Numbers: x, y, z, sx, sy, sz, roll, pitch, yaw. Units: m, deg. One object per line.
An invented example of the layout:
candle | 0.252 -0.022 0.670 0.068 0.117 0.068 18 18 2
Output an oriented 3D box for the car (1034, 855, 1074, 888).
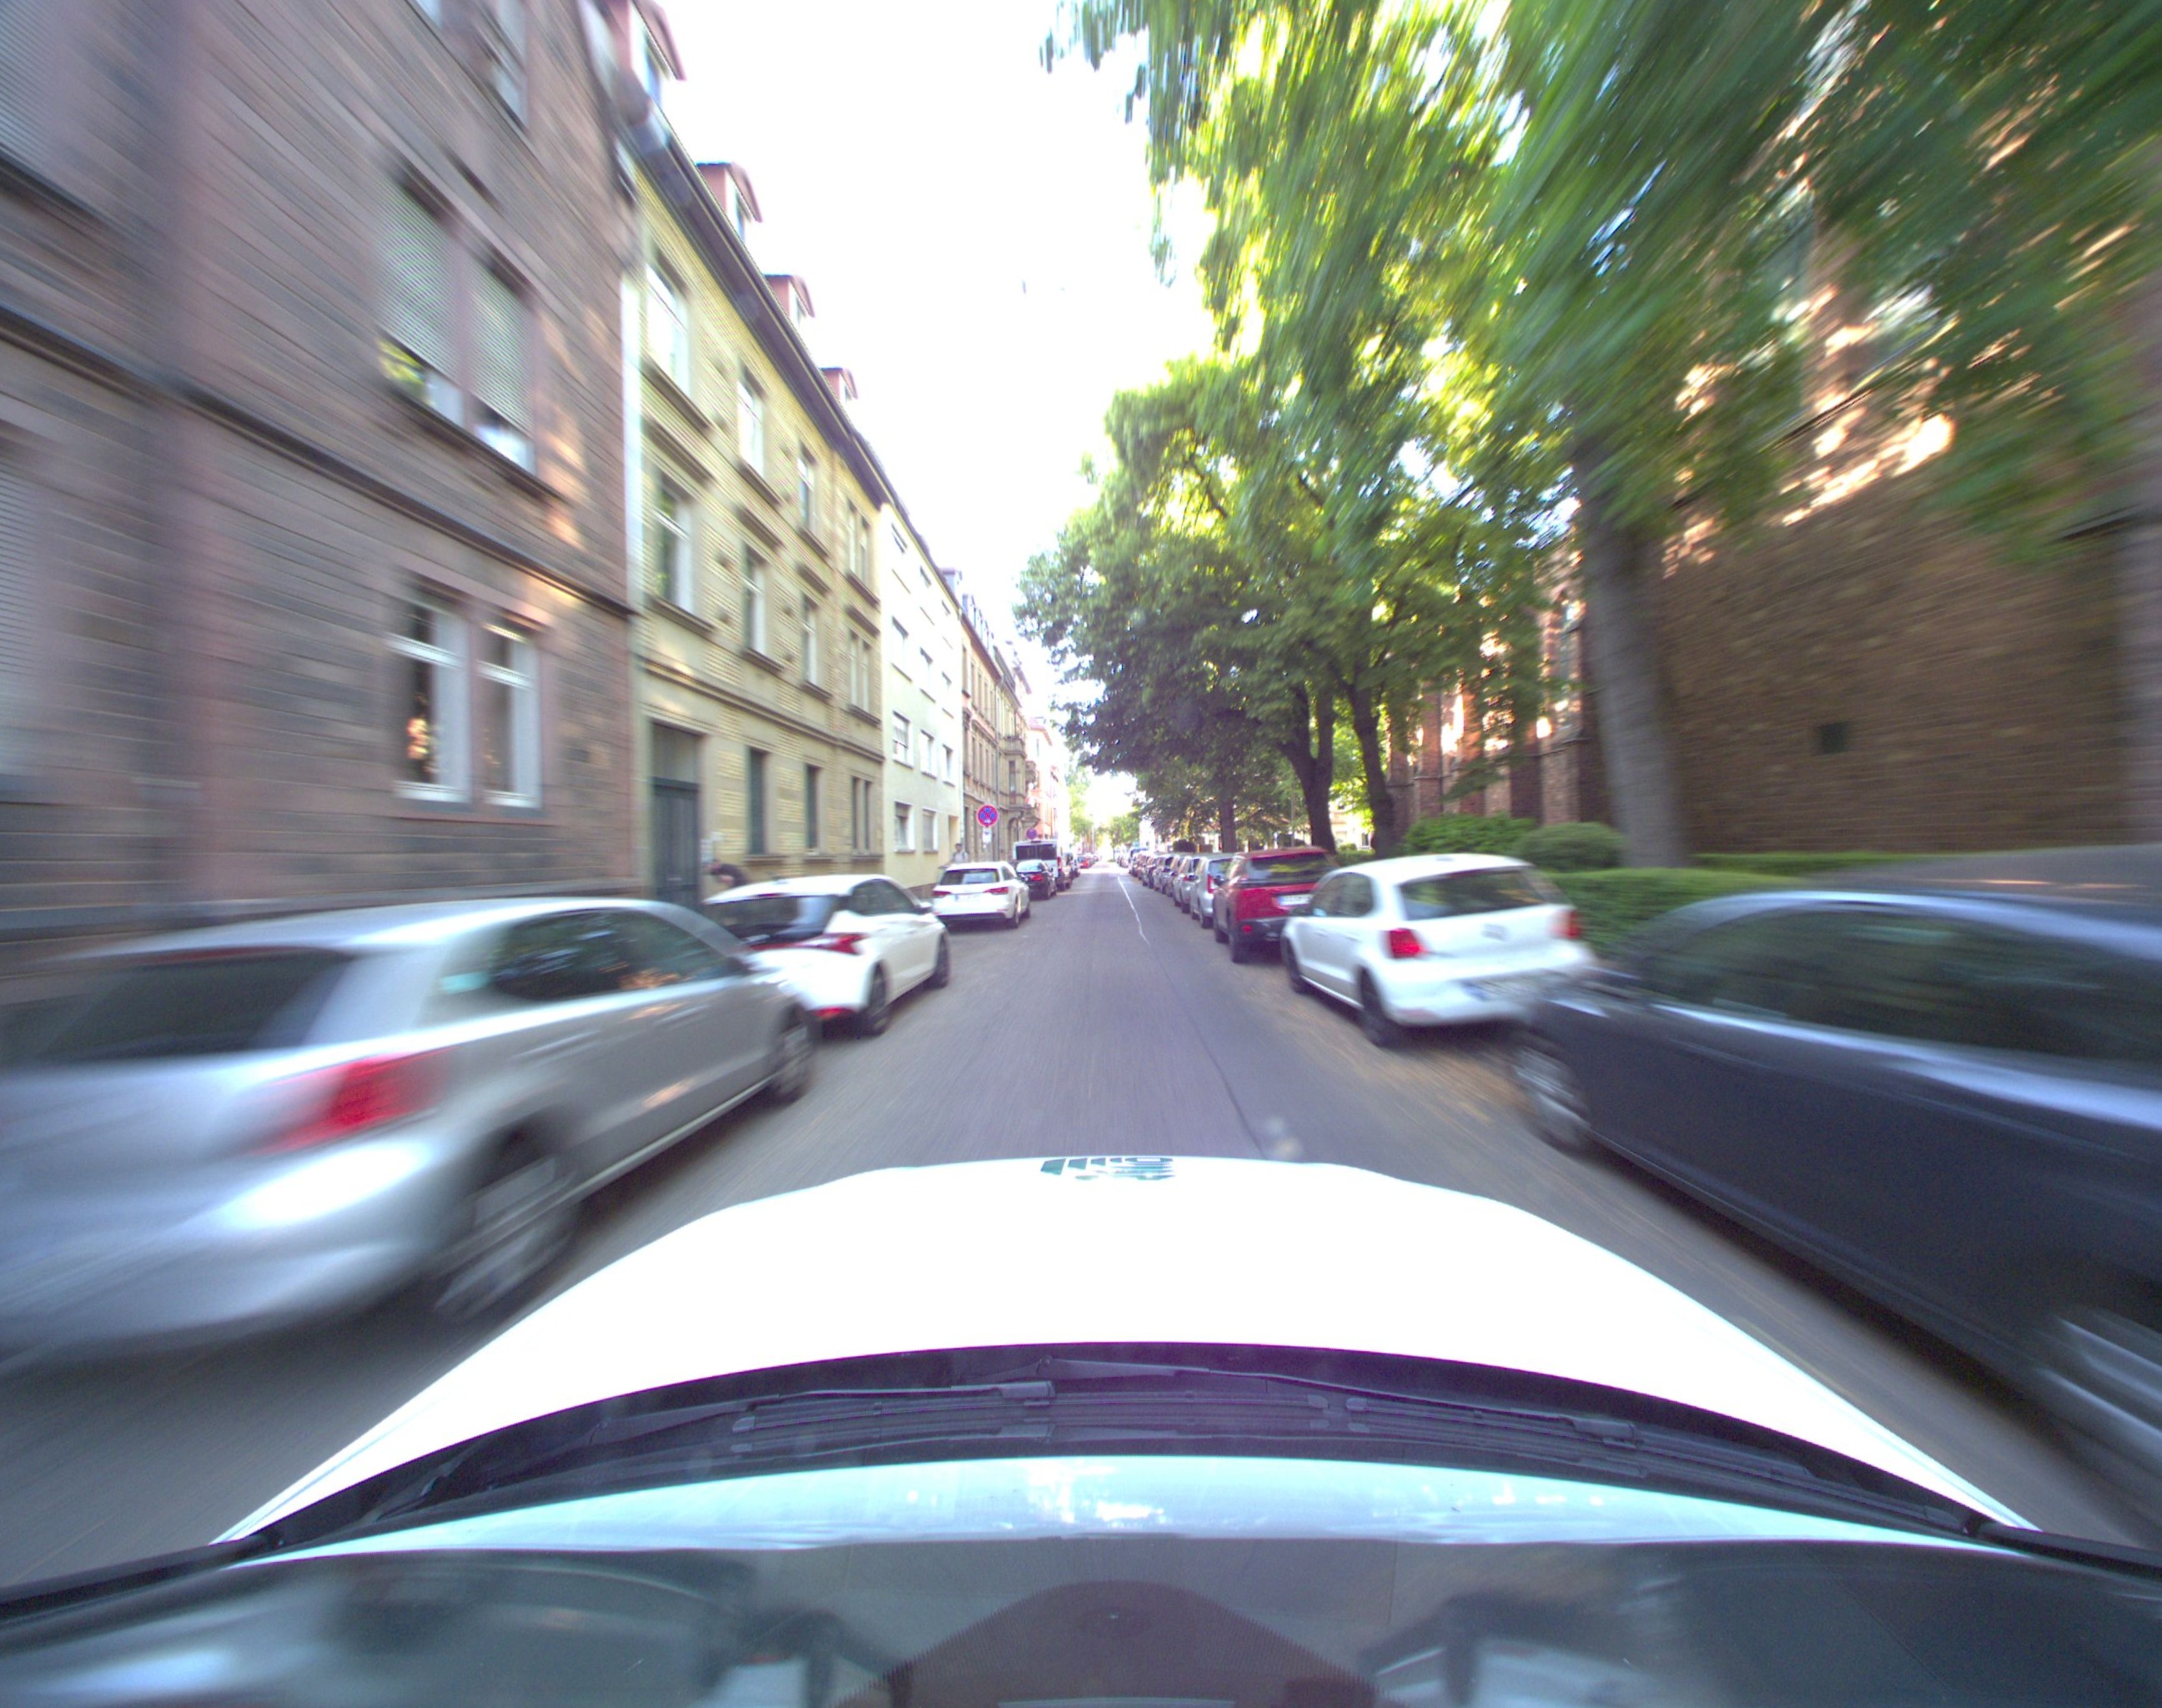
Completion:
car | -1.366 0.878 42.171 1.760 1.514 4.194 -4 0 1

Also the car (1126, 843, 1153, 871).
car | 4.546 0.191 63.102 1.906 1.998 4.797 -4 0 4

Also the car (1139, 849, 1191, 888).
car | 3.647 0.632 36.230 1.670 1.441 4.694 -6 -1 0

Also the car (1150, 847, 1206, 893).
car | 3.701 0.610 31.674 1.594 1.505 3.627 -6 -1 0

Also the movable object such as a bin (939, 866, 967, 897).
movable object such as a bin | -4.706 1.009 29.983 0.832 1.088 0.676 -2 -1 4

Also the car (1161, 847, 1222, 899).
car | 3.671 0.613 27.624 1.593 1.468 3.565 -6 -1 2

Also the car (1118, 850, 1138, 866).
car | 4.920 0.415 85.579 1.739 1.506 4.356 -4 0 -1

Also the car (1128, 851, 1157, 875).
car | 4.355 0.636 57.940 1.713 1.571 3.828 -2 0 0

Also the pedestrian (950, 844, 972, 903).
pedestrian | -3.714 0.594 25.261 0.486 1.803 1.115 1 0 0

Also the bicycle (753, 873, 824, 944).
bicycle | -5.274 0.952 14.798 0.568 1.148 1.845 1 0 1

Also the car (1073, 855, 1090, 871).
car | 0.045 0.933 85.939 1.622 1.481 3.602 -4 0 1

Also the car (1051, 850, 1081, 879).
car | -1.003 0.676 56.697 1.824 1.811 4.573 -4 0 1

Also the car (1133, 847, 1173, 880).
car | 4.075 0.571 46.456 1.615 1.624 3.860 -6 -1 -2

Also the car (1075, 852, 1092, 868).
car | 0.301 0.751 101.057 1.736 1.811 4.676 -4 0 3

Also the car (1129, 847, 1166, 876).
car | 4.290 0.491 52.909 1.735 1.603 4.260 -6 -1 -2

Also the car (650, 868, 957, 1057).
car | -2.572 0.923 8.588 1.702 1.417 3.805 -4 -1 3

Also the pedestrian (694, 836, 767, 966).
pedestrian | -5.380 0.697 12.527 0.764 1.928 0.763 -1 0 -2

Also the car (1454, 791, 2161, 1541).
car | 3.101 0.625 2.939 1.657 1.520 4.063 -6 -1 3

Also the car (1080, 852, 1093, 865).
car | 0.799 0.707 120.222 1.759 1.785 4.040 -4 0 1

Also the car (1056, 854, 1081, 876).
car | -0.898 0.807 62.175 1.687 1.481 3.974 -4 0 1

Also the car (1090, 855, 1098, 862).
car | 2.953 0.925 179.741 1.670 1.487 4.095 -4 0 1

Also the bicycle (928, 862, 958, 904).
bicycle | -4.248 0.875 25.210 0.568 1.244 1.845 1 0 1

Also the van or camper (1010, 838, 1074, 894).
van or camper | -1.623 0.484 35.869 2.167 2.147 5.158 -4 0 3

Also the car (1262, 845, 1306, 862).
car | 18.931 -0.024 75.912 3.833 1.473 1.637 -1 -2 8

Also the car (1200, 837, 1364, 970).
car | 2.946 0.669 12.789 1.657 1.586 4.104 -6 -1 4

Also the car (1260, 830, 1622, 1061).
car | 3.081 0.696 7.965 1.659 1.520 3.951 -6 -1 0

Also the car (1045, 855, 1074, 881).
car | -1.335 0.875 51.909 1.688 1.514 3.971 -4 0 -1

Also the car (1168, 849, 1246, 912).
car | 3.361 0.679 22.278 1.593 1.470 3.871 -4 -1 2

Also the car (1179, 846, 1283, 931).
car | 3.188 0.696 17.974 1.593 1.505 3.722 -6 -1 2

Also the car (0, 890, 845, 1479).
car | -2.727 1.014 4.146 1.702 1.417 3.805 -4 -1 3

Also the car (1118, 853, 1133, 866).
car | 5.479 0.705 100.701 1.670 1.506 3.938 -4 0 1

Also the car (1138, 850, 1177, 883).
car | 3.953 0.648 42.469 1.613 1.486 3.777 -6 -1 2

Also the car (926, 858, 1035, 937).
car | -2.156 0.892 18.676 1.724 1.456 4.523 -4 0 2

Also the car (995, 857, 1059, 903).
car | -1.881 0.891 29.501 1.723 1.402 4.319 -4 0 3
